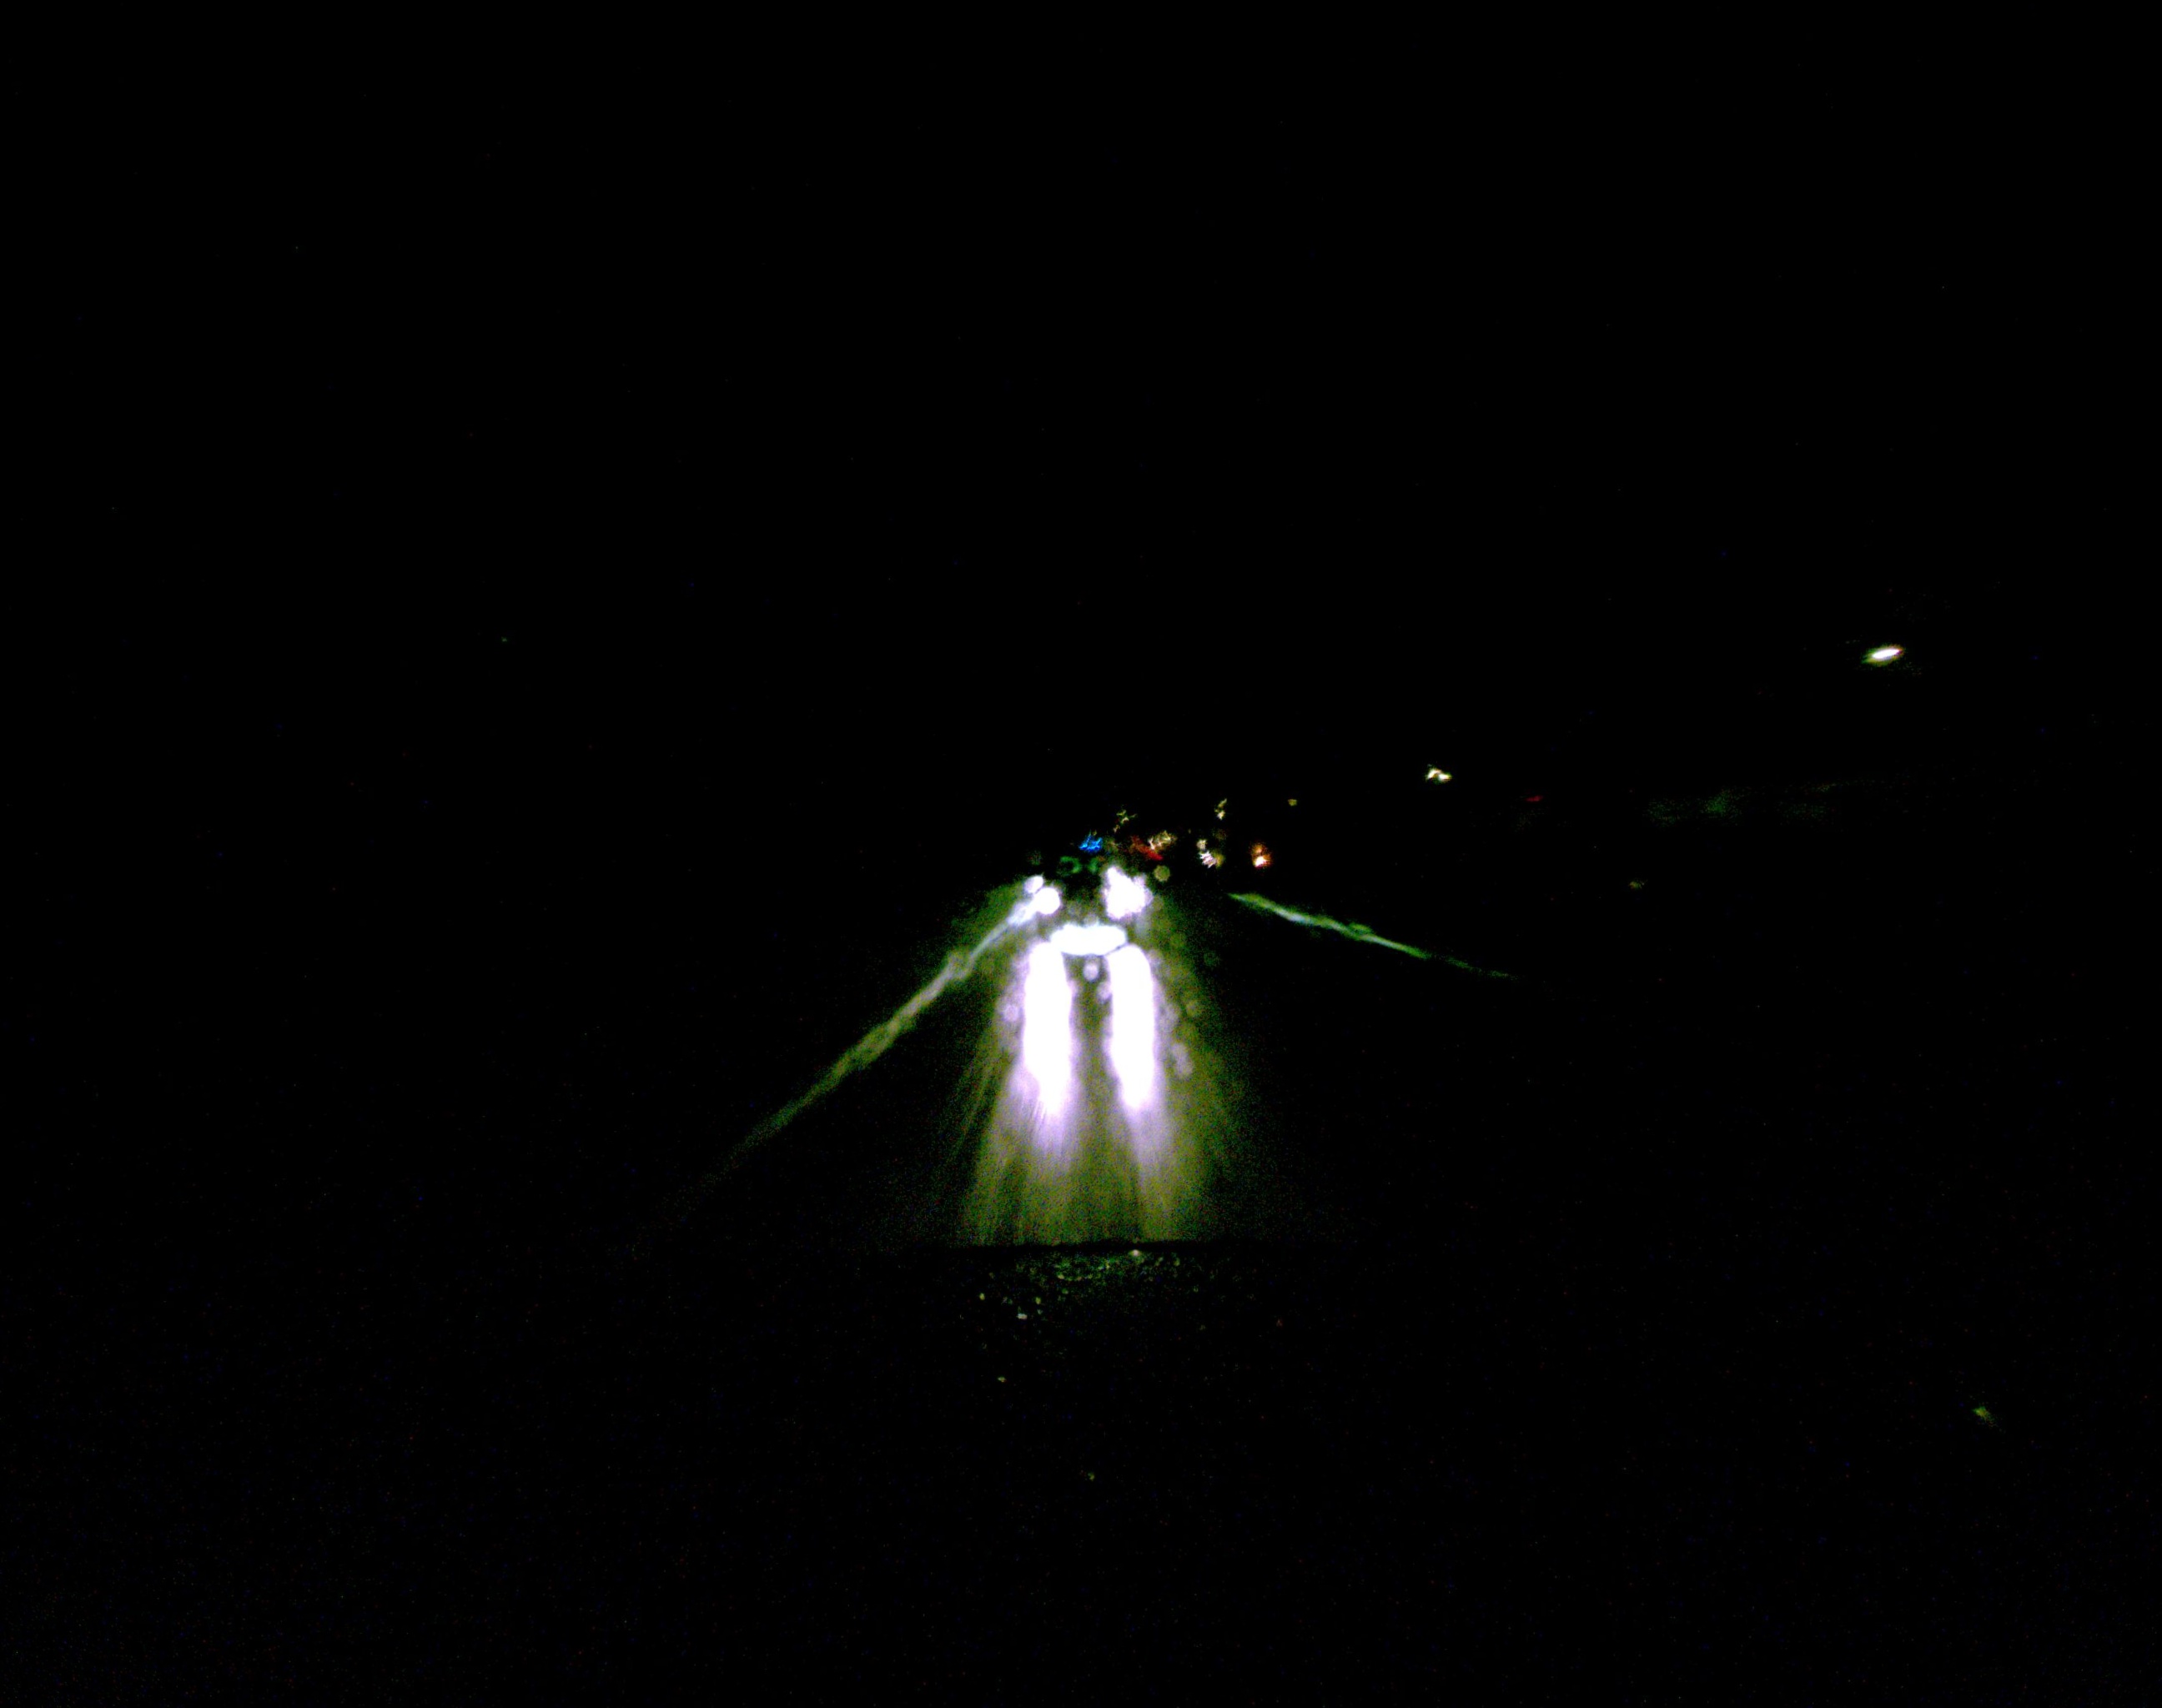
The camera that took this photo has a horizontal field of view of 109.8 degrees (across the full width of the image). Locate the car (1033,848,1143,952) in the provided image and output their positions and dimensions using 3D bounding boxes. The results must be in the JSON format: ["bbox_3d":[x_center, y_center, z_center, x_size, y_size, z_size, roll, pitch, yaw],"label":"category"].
[{"bbox_3d":[0.135,0.797,14.997,1.791,1.684,4.219,-2,0,0],"label":"car"}]

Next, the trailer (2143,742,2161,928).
[{"bbox_3d":[30.903,-0.484,13.256,3.981,4.984,14.832,-2,1,0],"label":"trailer"}]

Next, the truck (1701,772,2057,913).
[{"bbox_3d":[30.734,-0.449,30.385,3.448,4.583,10.211,-2,1,0],"label":"truck"}]

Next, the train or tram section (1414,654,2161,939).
[{"bbox_3d":[15.769,-0.867,14.391,2.703,3.793,37.139,-2,1,0],"label":"train or tram section"}]
